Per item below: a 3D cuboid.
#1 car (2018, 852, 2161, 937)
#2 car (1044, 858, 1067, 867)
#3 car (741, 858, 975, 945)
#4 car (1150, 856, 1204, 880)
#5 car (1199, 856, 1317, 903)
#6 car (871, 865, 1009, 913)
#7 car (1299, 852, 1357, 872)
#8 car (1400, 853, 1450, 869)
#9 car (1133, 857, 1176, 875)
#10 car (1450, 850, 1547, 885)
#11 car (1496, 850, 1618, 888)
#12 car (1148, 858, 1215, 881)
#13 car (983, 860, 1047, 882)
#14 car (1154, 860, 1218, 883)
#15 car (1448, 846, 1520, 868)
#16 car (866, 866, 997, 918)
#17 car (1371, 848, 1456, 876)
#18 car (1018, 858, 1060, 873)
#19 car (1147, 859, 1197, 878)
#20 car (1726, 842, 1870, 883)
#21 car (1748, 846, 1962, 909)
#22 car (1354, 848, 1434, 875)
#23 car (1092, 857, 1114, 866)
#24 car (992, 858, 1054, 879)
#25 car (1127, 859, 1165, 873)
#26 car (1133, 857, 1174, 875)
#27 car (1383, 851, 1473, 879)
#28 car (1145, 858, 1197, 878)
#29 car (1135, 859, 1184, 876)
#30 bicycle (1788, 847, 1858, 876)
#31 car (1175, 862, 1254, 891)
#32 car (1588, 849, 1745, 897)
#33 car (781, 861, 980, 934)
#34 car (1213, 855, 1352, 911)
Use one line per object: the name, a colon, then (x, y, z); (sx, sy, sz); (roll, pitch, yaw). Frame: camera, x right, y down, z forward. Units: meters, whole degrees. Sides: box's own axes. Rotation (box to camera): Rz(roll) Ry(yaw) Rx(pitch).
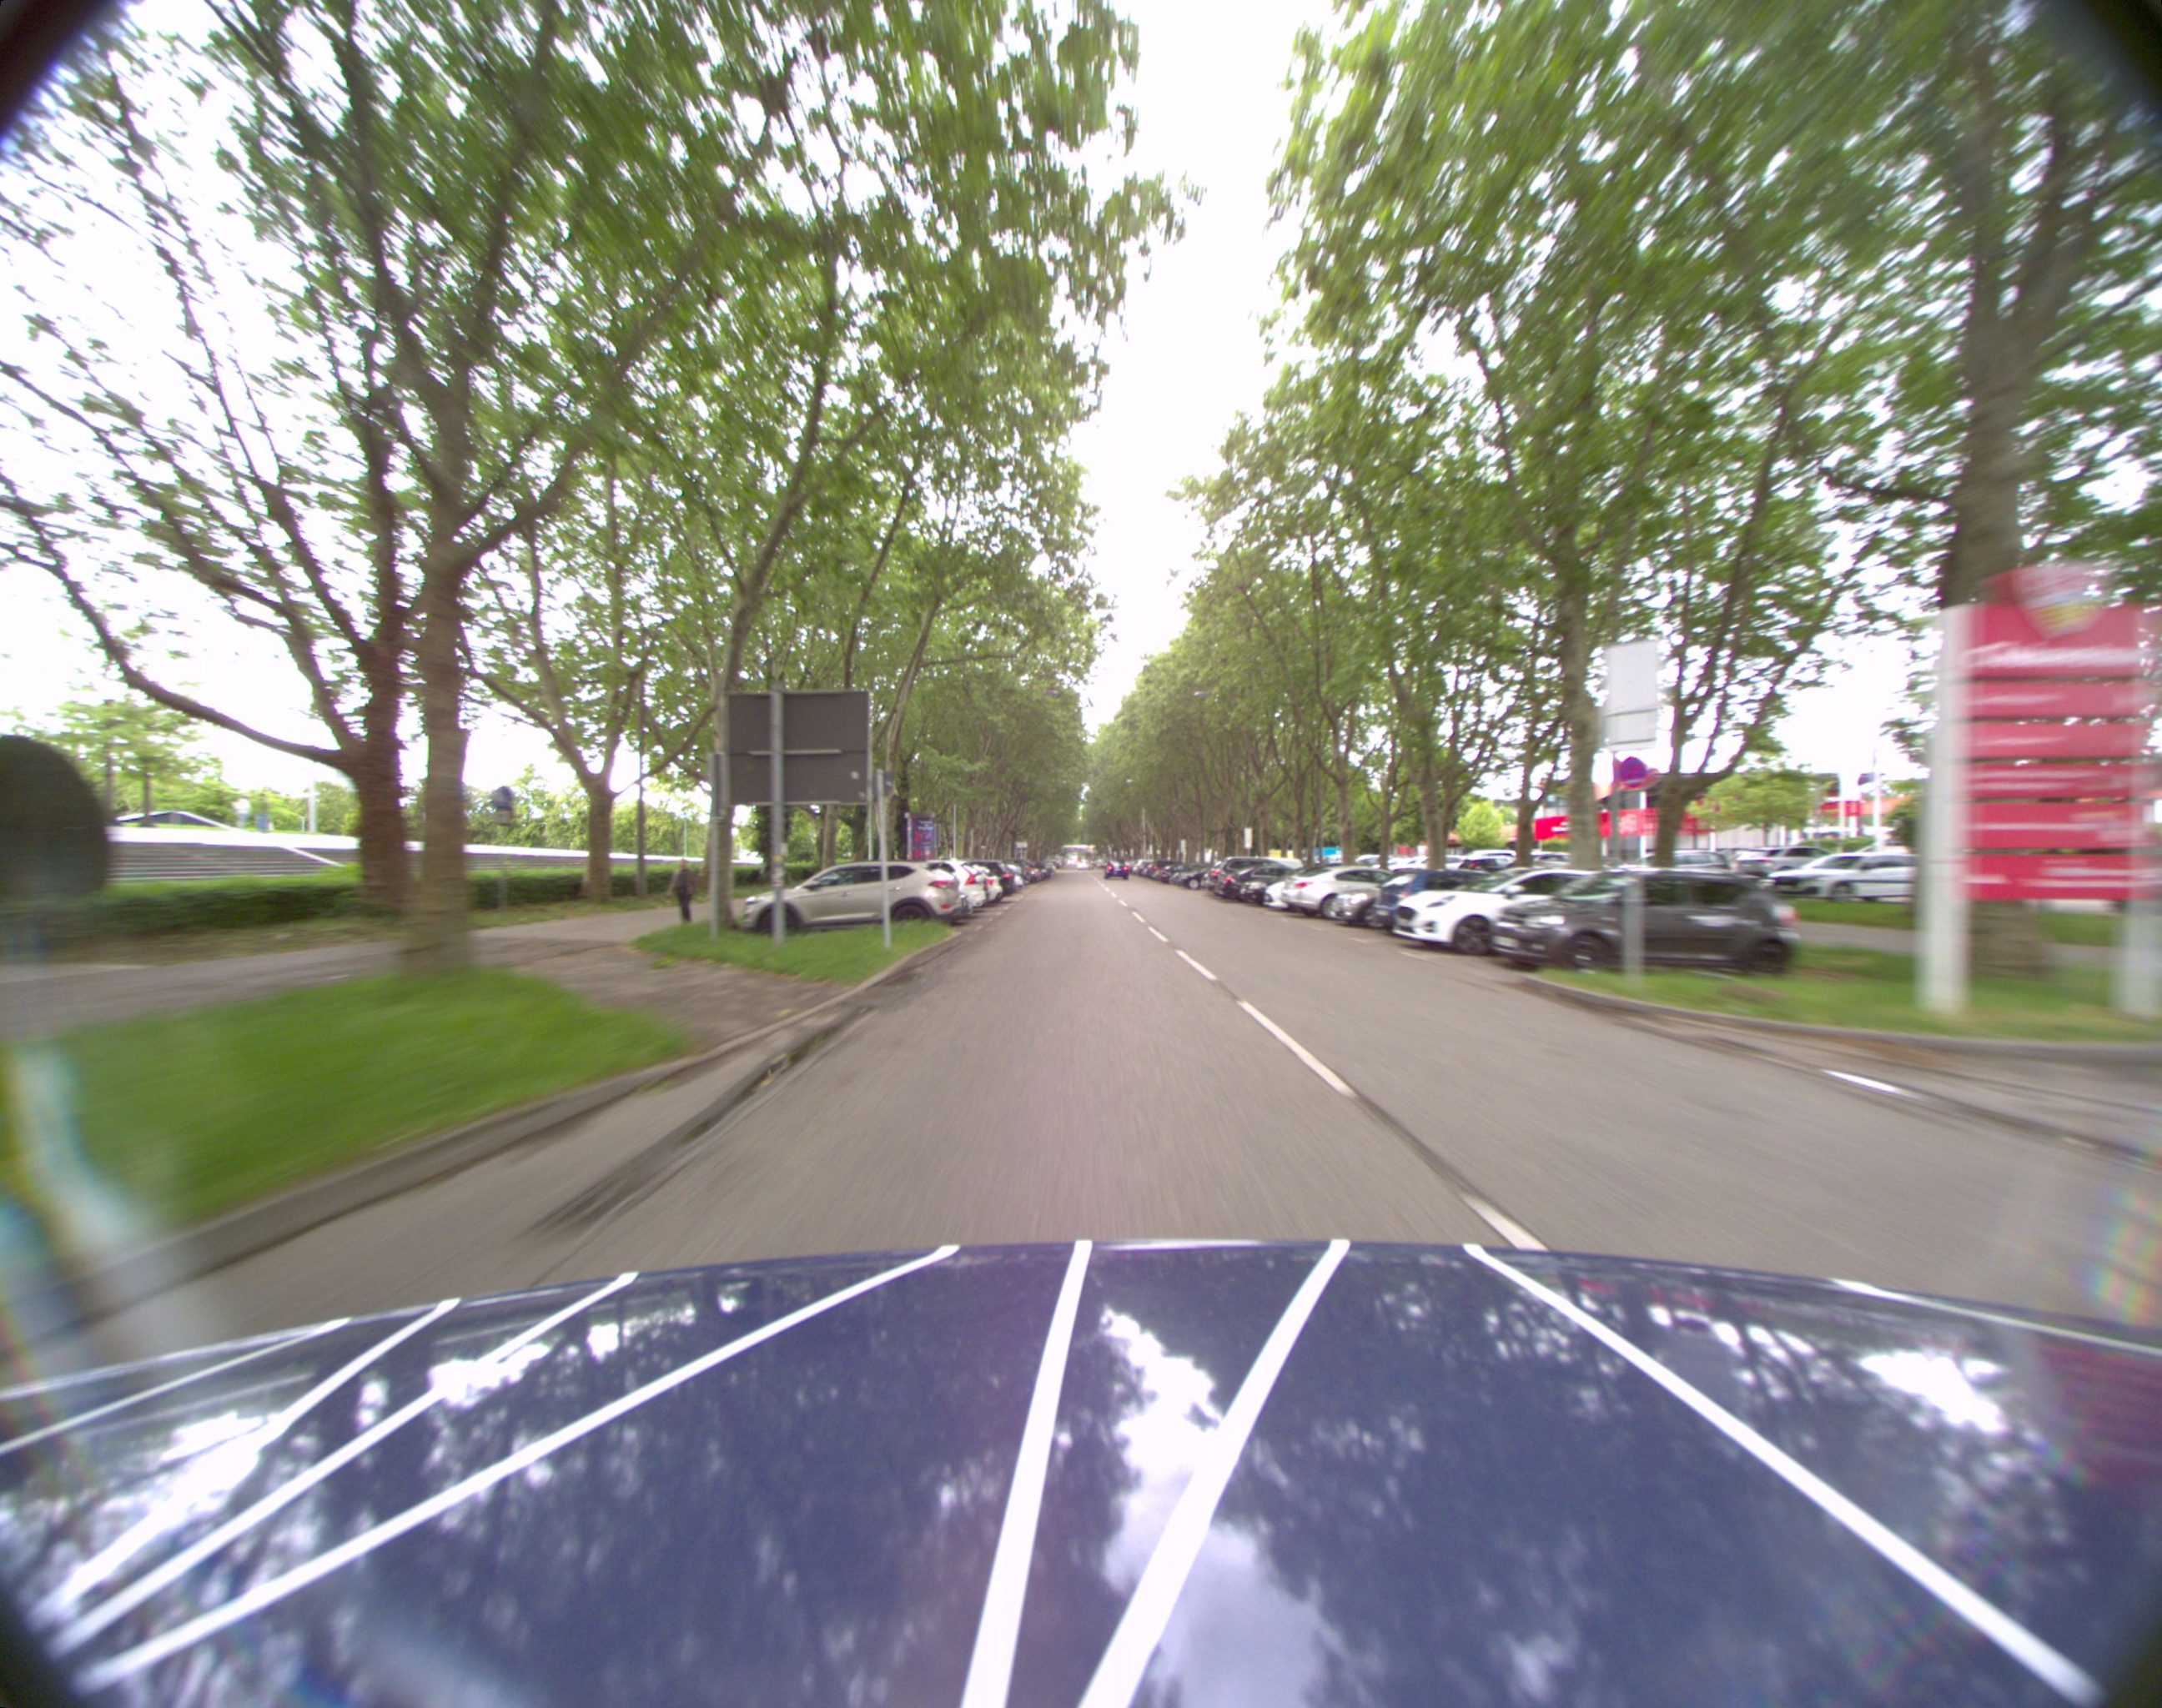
car: (22.668, 0.758, 15.555); (4.332, 1.539, 2.203); (-1, 0, -1)
car: (-5.521, 1.864, 162.738); (4.674, 1.740, 2.001); (-3, 0, 4)
car: (-4.604, 0.961, 16.185); (4.357, 1.624, 1.926); (-2, 0, 0)
car: (7.423, 1.070, 58.862); (3.941, 1.698, 1.752); (1, 0, -2)
car: (7.171, 1.005, 31.057); (4.328, 1.784, 2.036); (-1, 1, 0)
car: (-4.762, 1.161, 26.175); (4.358, 1.447, 1.949); (-2, 0, -2)
car: (22.648, 0.747, 69.800); (4.565, 1.710, 1.999); (1, 0, -3)
car: (34.300, 0.689, 75.799); (4.031, 1.542, 1.999); (-1, 1, -5)
car: (7.073, 1.129, 73.789); (3.997, 1.672, 1.855); (-1, 1, 1)
car: (23.306, 0.742, 42.563); (4.332, 1.850, 2.028); (-1, 1, -1)
car: (23.289, 0.724, 37.301); (4.564, 1.715, 2.296); (-1, 1, -1)
car: (7.058, 1.096, 53.519); (4.475, 1.473, 1.703); (1, 0, -2)
car: (-4.837, 1.249, 56.092); (4.506, 1.411, 1.829); (-2, 0, 1)
car: (6.963, 1.146, 50.636); (3.941, 1.390, 1.703); (1, 0, -2)
car: (34.064, 0.256, 64.234); (4.955, 1.786, 2.182); (-1, 1, -3)
car: (-4.653, 1.171, 24.003); (3.740, 1.394, 1.776); (-2, 0, -1)
car: (22.990, 0.528, 52.683); (4.955, 1.786, 2.182); (-1, 1, -3)
car: (-4.756, 1.298, 86.334); (4.535, 1.613, 2.054); (-1, 0, 0)
car: (7.552, 1.167, 63.403); (4.002, 1.477, 1.704); (1, 0, 4)
car: (34.323, 0.378, 36.497); (4.588, 1.844, 2.297); (-1, 1, 5)
car: (23.117, 0.667, 22.838); (4.332, 1.699, 2.131); (-1, 1, -1)
car: (22.704, 0.521, 55.216); (4.955, 1.786, 2.182); (-1, 1, -3)
car: (4.766, 1.615, 161.102); (4.492, 1.740, 2.001); (-3, 0, 4)
car: (-4.424, 1.121, 58.459); (4.506, 1.420, 1.932); (-2, 0, 0)
car: (7.155, 1.294, 83.414); (3.997, 1.444, 1.855); (-1, 1, 1)
car: (7.248, 1.170, 76.215); (3.997, 1.672, 1.855); (-1, 1, 1)
car: (22.716, 0.702, 49.893); (4.955, 1.786, 2.183); (0, 0, -3)
car: (7.222, 1.120, 61.163); (3.940, 1.507, 1.728); (1, 0, 1)
car: (6.790, 1.171, 65.923); (4.004, 1.412, 1.703); (1, 0, -2)
bicycle: (39.989, 0.390, 41.007); (1.051, 1.531, 2.801); (-1, 0, 0)
car: (7.206, 1.182, 41.233); (3.987, 1.412, 1.756); (2, 0, 3)
car: (23.256, 0.711, 30.347); (4.530, 1.752, 2.296); (-1, 1, -1)
car: (-4.839, 1.032, 18.804); (4.357, 1.595, 1.926); (-2, 0, 0)
car: (6.958, 0.981, 26.600); (4.328, 1.799, 1.867); (1, 0, 0)
